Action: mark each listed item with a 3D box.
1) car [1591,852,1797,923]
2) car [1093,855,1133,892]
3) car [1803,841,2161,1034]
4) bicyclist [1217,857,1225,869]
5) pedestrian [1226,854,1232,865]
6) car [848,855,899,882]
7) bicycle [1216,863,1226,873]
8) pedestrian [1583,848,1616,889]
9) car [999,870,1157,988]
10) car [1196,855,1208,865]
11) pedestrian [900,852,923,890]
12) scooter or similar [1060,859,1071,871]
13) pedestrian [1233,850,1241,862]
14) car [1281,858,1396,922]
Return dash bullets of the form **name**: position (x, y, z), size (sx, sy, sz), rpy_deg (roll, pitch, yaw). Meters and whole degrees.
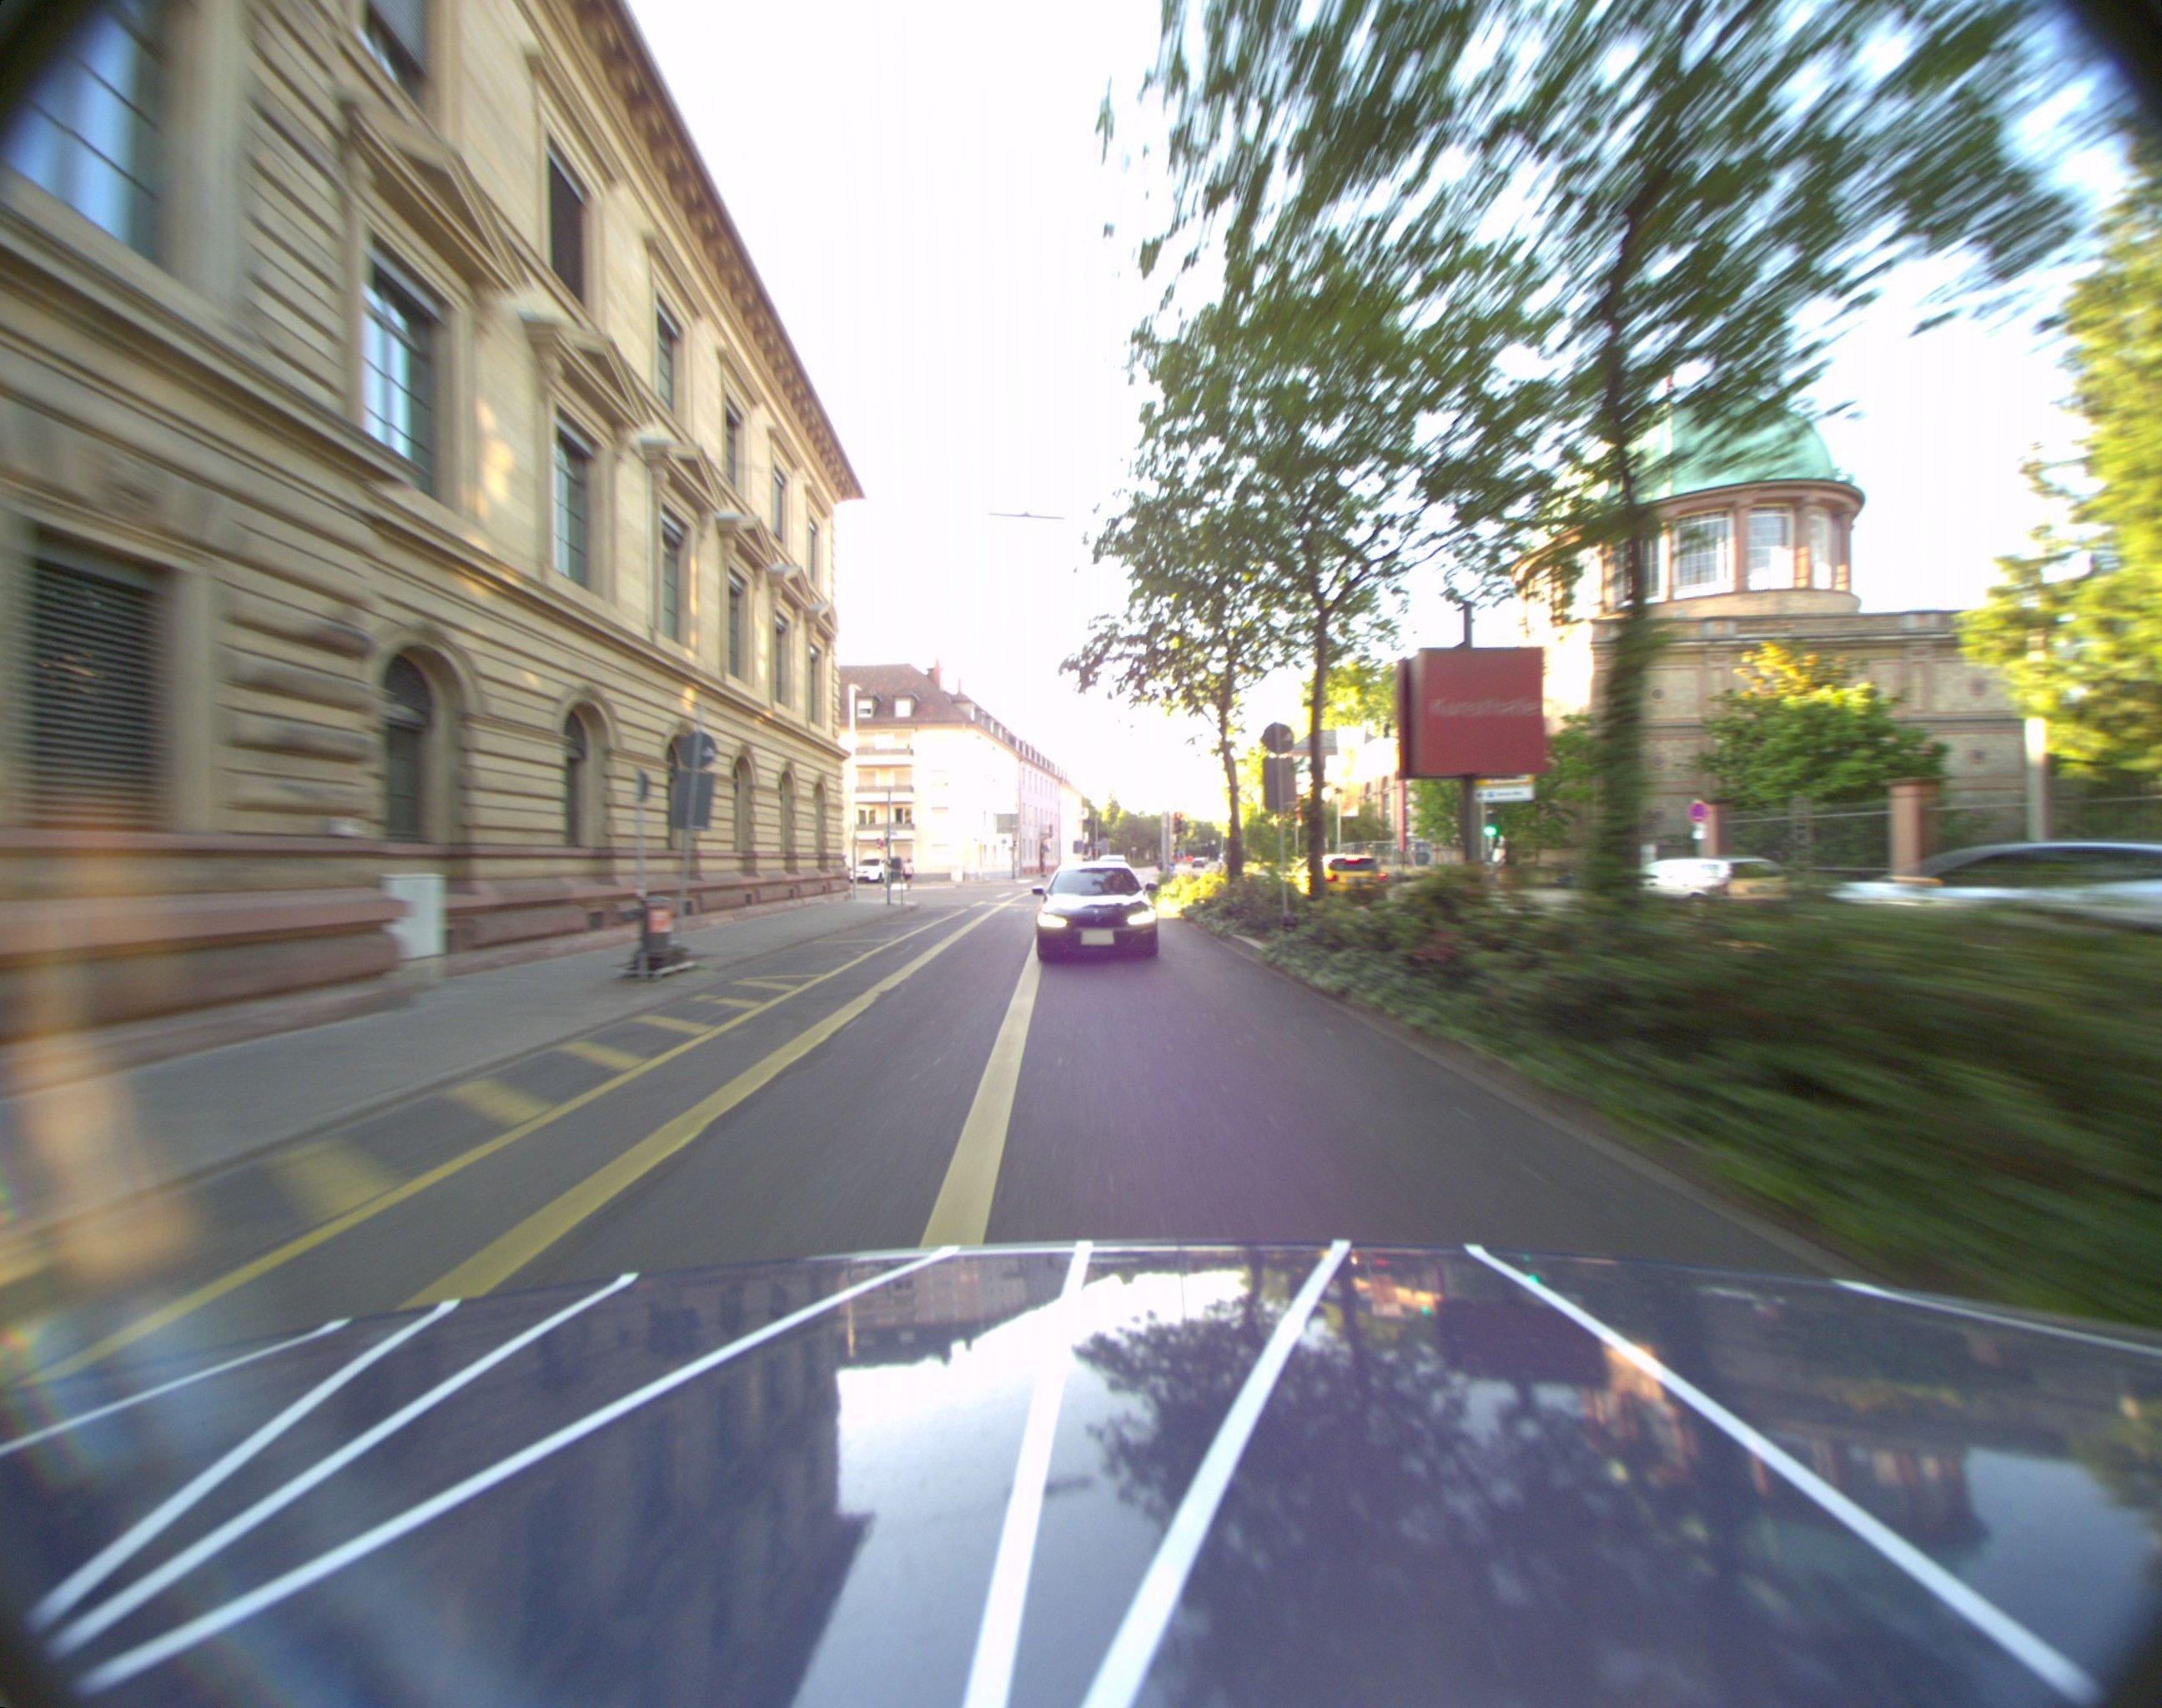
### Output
- **car**: position (15.646, 0.780, 19.763), size (1.749, 1.538, 4.368), rpy_deg (-2, 1, -1)
- **car**: position (1.645, 0.939, 38.359), size (1.838, 1.674, 4.224), rpy_deg (-2, 0, 3)
- **car**: position (10.287, 0.731, 7.657), size (1.846, 1.664, 4.557), rpy_deg (1, 0, 3)
- **bicyclist**: position (16.183, 1.041, 87.792), size (0.749, 1.452, 0.937), rpy_deg (1, 0, 1)
- **pedestrian**: position (21.554, 0.806, 110.508), size (0.675, 1.504, 0.836), rpy_deg (-4, -2, 6)
- **car**: position (-14.052, 0.965, 51.719), size (1.998, 1.739, 4.476), rpy_deg (-1, 0, 4)
- **bicycle**: position (16.173, 1.620, 87.775), size (0.755, 1.084, 1.932), rpy_deg (1, 0, 1)
- **pedestrian**: position (19.961, 0.558, 29.256), size (0.737, 1.569, 0.762), rpy_deg (-1, 0, 1)
- **car**: position (0.189, 1.038, 12.276), size (1.963, 1.378, 4.783), rpy_deg (-1, 0, 7)
- **car**: position (18.881, 0.967, 118.218), size (1.826, 1.499, 4.430), rpy_deg (-1, 0, 9)
- **pedestrian**: position (-9.101, 0.888, 40.815), size (0.785, 2.002, 0.996), rpy_deg (-1, 0, 22)
- **scooter or similar**: position (-1.905, 1.322, 93.039), size (0.726, 1.450, 1.674), rpy_deg (2, 1, 17)
- **pedestrian**: position (22.624, 0.360, 110.206), size (0.806, 1.728, 0.851), rpy_deg (-1, 0, 32)
- **car**: position (6.731, 0.879, 20.316), size (1.849, 1.538, 4.119), rpy_deg (0, 0, 3)
